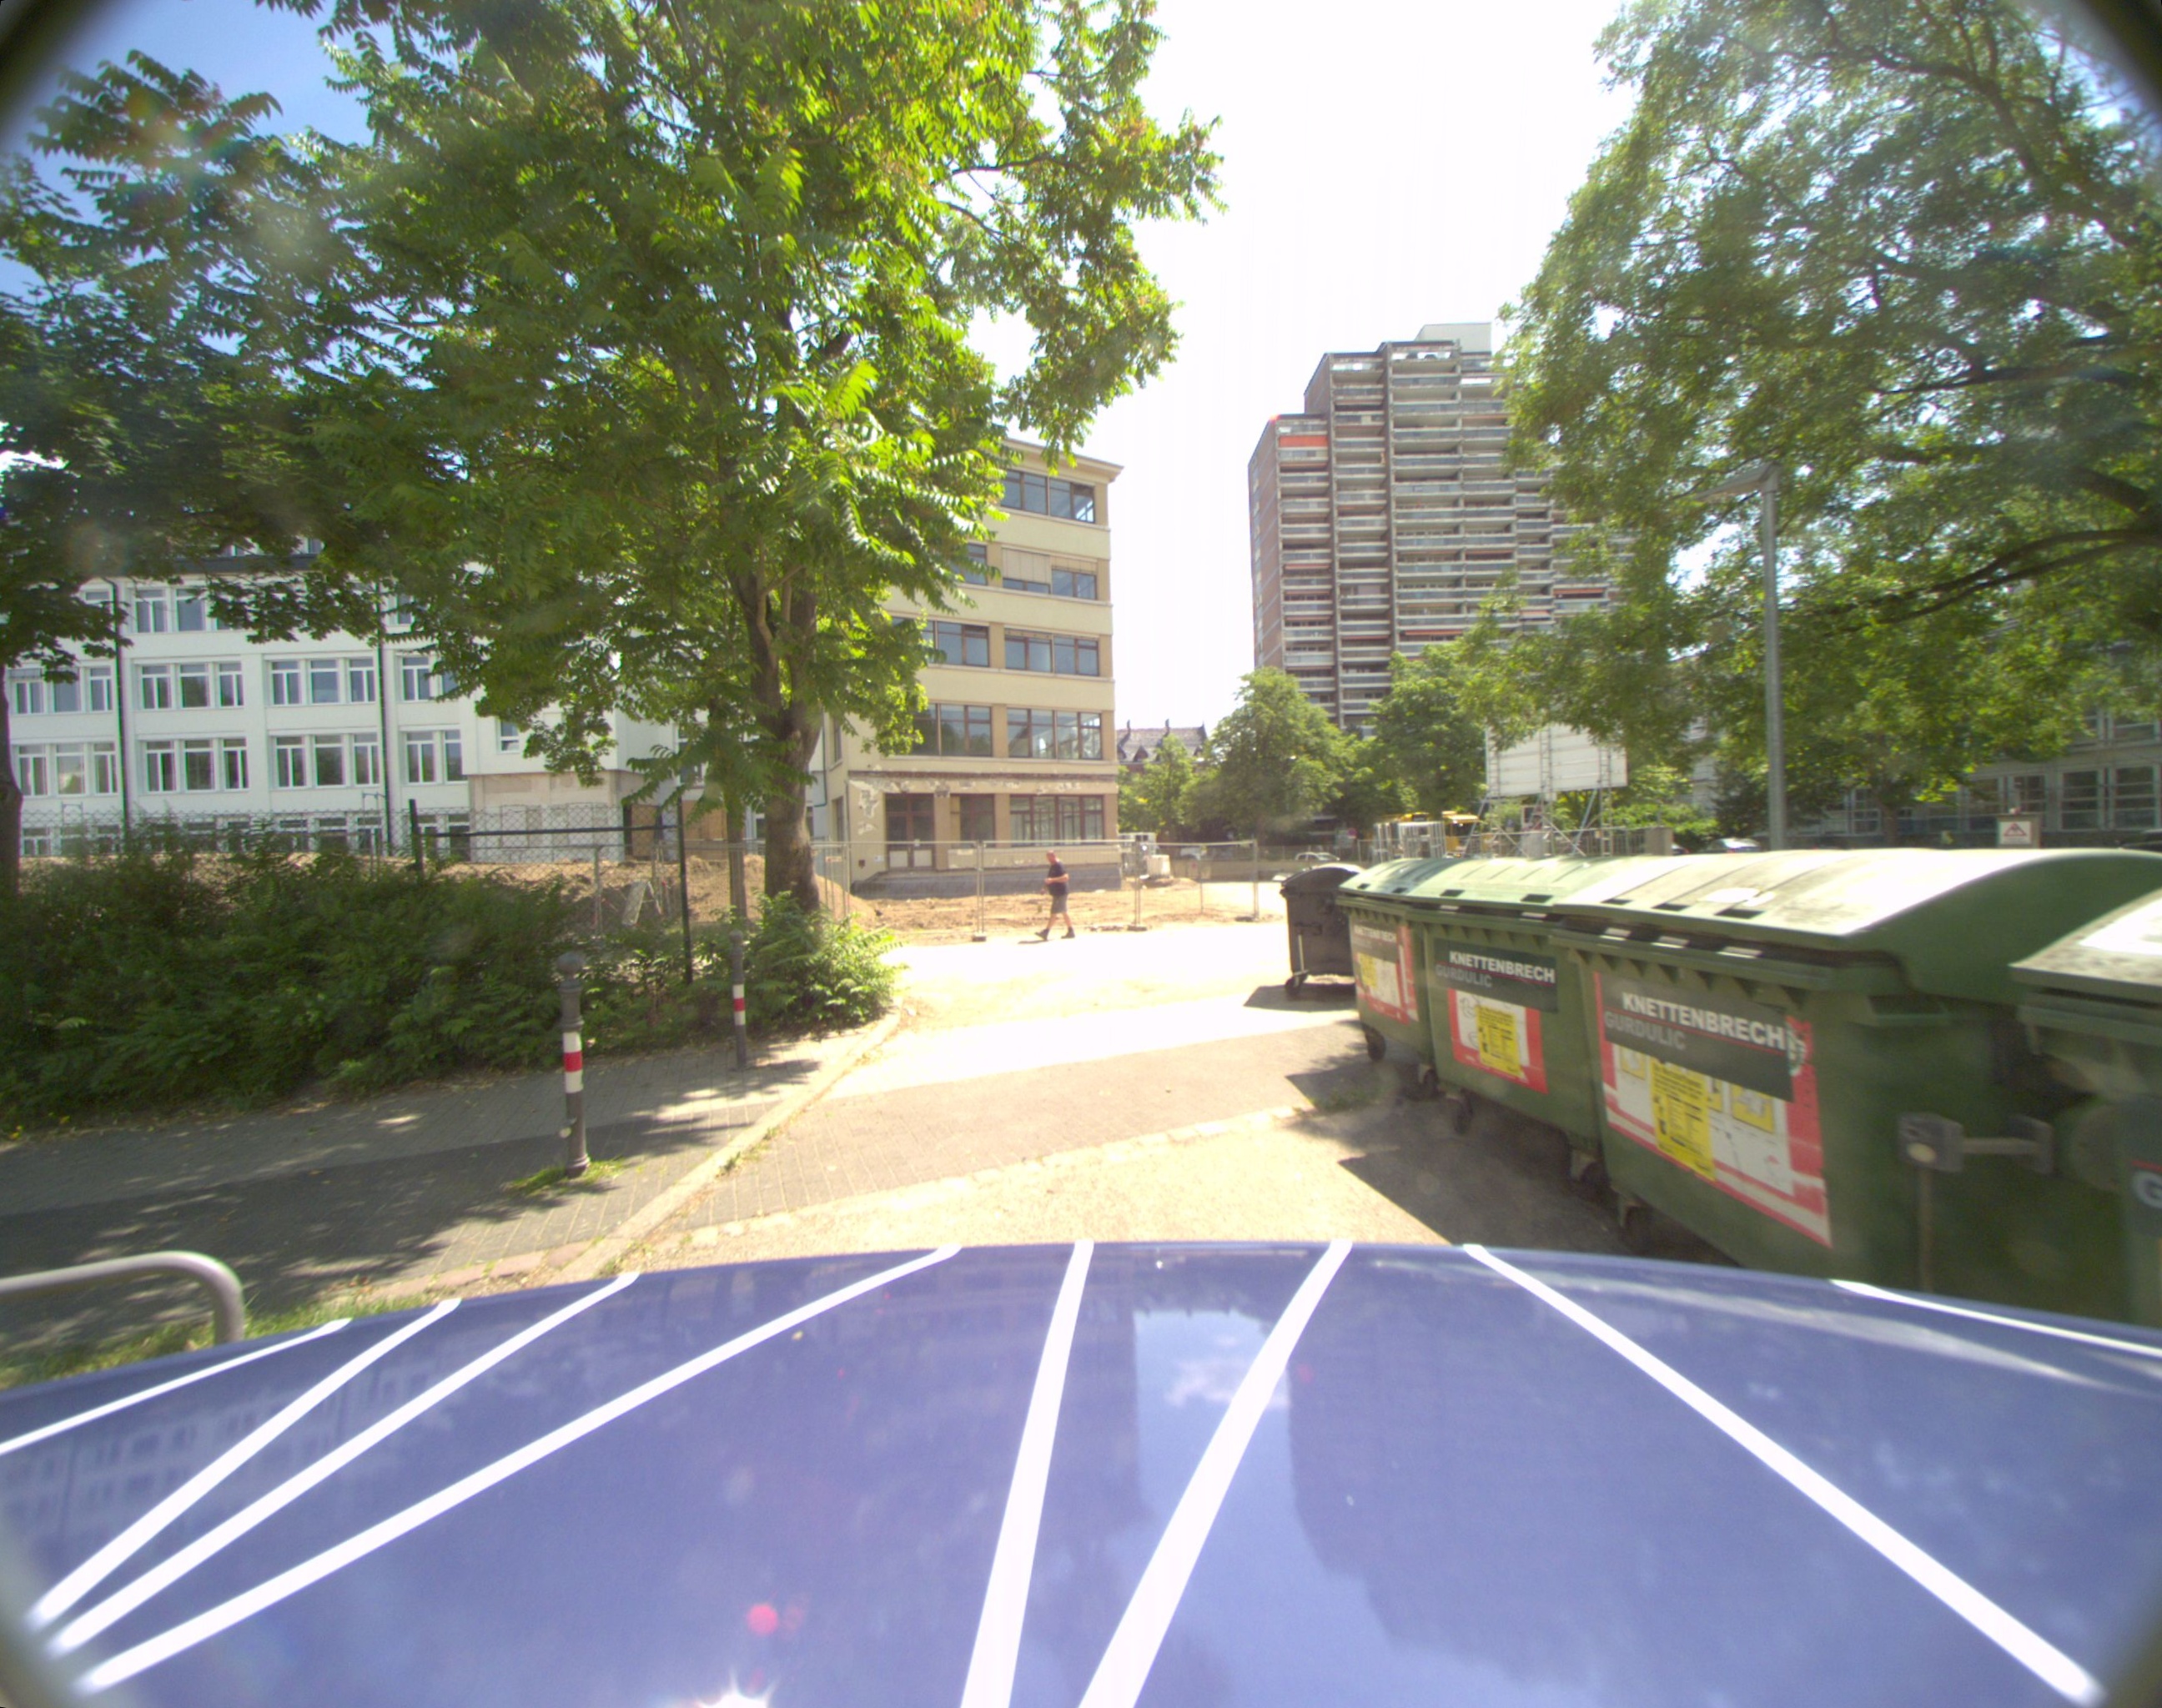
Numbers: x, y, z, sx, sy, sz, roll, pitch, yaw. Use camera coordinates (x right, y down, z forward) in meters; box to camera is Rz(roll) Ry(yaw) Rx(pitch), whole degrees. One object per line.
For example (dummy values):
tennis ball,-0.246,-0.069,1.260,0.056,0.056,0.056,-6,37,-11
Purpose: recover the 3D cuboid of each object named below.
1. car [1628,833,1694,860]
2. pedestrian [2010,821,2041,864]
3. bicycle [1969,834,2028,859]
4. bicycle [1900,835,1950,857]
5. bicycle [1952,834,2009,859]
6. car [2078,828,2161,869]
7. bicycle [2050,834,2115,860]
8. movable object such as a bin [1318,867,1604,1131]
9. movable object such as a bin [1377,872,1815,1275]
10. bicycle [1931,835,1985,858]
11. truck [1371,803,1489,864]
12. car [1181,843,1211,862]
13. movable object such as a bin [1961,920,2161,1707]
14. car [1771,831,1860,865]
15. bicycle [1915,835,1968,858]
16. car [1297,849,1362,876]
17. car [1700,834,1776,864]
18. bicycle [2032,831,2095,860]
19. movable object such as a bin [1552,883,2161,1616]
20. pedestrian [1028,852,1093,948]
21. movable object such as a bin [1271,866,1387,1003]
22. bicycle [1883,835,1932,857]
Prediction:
car,32.388,-0.416,42.546,1.627,1.365,4.027,-2,0,17
pedestrian,41.058,-0.497,33.027,0.716,1.864,0.577,-1,1,-13
bicycle,43.396,-0.352,35.949,1.941,1.124,0.569,-1,1,4
bicycle,43.599,-0.409,39.240,1.926,1.124,0.568,-1,1,1
bicycle,43.483,-0.354,36.735,1.941,1.124,0.569,-1,1,4
car,40.202,-0.232,28.196,1.751,1.461,4.202,-2,0,17
bicycle,43.921,-0.306,33.333,1.941,1.124,0.569,-1,1,4
movable object such as a bin,2.413,0.850,5.061,1.207,1.471,1.324,-1,1,-2
movable object such as a bin,2.324,0.855,3.660,1.097,1.471,1.359,-1,1,-11
bicycle,43.534,-0.373,37.721,1.941,1.124,0.569,-1,1,4
truck,25.459,-1.410,56.236,2.751,3.983,9.735,-2,1,-10
car,12.637,-0.173,83.428,1.995,2.002,4.007,-2,1,29
movable object such as a bin,2.205,0.863,0.752,1.047,1.471,1.410,-1,1,2
car,35.437,-0.306,36.777,1.647,1.508,3.580,-2,0,17
bicycle,43.539,-0.387,38.471,1.925,1.124,0.569,-1,1,4
car,14.298,0.462,43.883,1.624,1.431,3.576,-2,1,-23
car,34.003,-0.274,39.463,1.815,1.454,4.029,-2,0,23
bicycle,43.923,-0.365,33.992,1.942,1.230,0.569,-2,1,4
movable object such as a bin,2.268,0.859,2.213,1.046,1.471,1.262,-1,1,4
pedestrian,-0.412,0.890,15.113,0.969,1.809,0.869,-2,1,-25
movable object such as a bin,2.841,0.854,8.638,1.113,1.386,1.162,-1,1,24
bicycle,43.502,-0.411,40.016,1.926,1.124,0.568,-1,1,1
